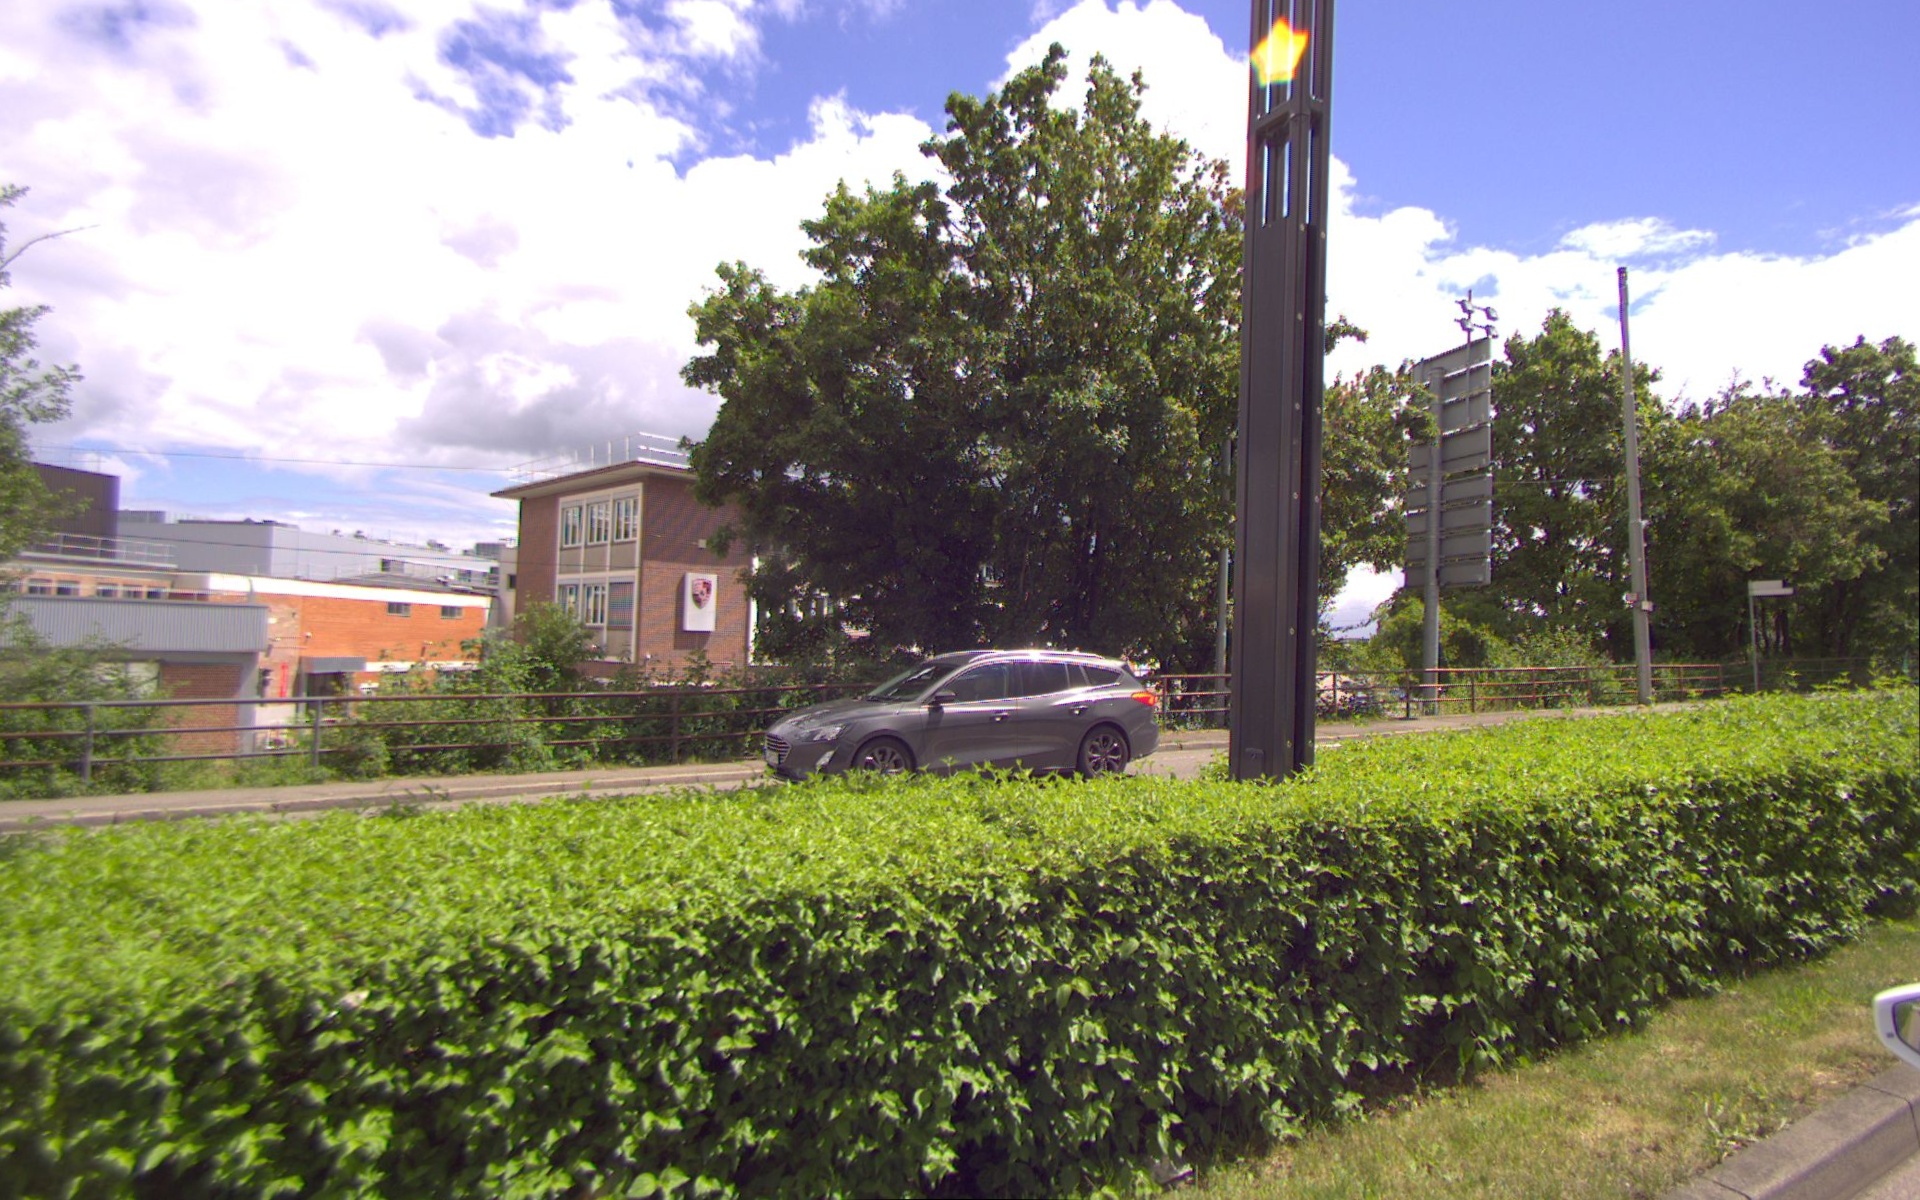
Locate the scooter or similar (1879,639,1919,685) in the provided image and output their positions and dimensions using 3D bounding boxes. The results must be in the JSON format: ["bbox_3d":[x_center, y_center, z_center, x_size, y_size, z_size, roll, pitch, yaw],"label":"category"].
[{"bbox_3d":[28.349,1.857,30.239,1.623,1.322,0.489,1,0,-29],"label":"scooter or similar"}]

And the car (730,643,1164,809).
[{"bbox_3d":[-0.101,1.245,11.155,4.502,1.527,1.833,1,-2,-27],"label":"car"}]
